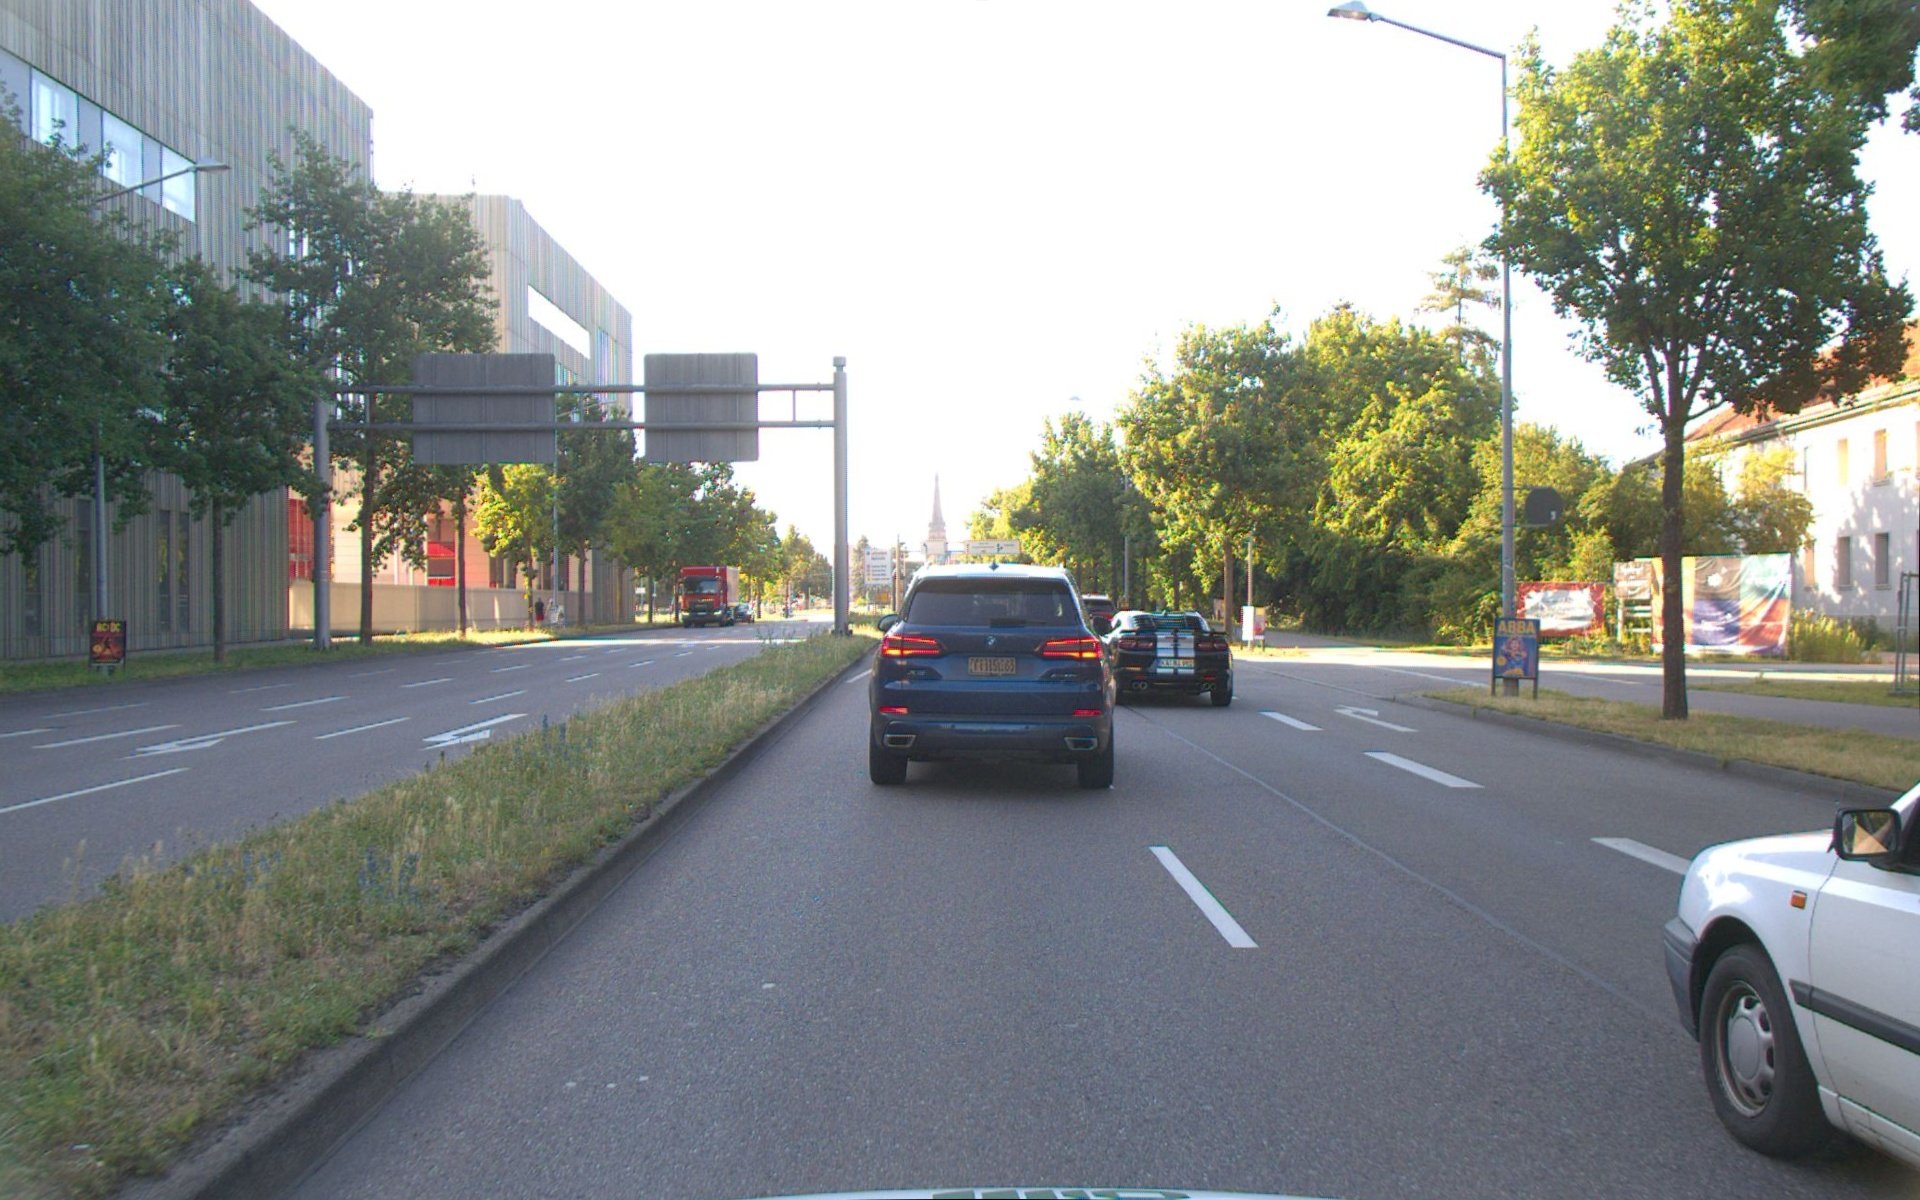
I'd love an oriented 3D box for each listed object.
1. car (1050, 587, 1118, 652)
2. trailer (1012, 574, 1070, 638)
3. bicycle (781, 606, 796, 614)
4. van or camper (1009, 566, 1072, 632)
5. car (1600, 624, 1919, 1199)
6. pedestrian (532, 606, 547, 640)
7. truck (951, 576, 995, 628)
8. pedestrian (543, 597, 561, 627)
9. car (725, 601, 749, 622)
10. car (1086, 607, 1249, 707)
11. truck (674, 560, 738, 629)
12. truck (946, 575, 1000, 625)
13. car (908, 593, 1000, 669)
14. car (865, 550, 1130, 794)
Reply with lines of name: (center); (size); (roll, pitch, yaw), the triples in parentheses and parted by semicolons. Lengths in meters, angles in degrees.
car: (3.310, 0.545, 44.682); (1.711, 1.649, 3.821); (-1, -1, 3)
trailer: (3.143, 0.239, 65.075); (2.047, 2.442, 3.500); (1, 0, -1)
bicycle: (-22.103, 1.261, 213.537); (1.868, 1.037, 0.505); (1, -1, 14)
van or camper: (3.399, -0.031, 71.108); (2.238, 2.675, 6.581); (1, 0, -1)
car: (3.007, 0.789, 3.543); (1.578, 1.423, 4.036); (2, -1, -2)
pedestrian: (-23.315, 1.262, 91.759); (0.619, 1.873, 0.716); (0, 0, 0)
truck: (0.665, 0.097, 89.269); (2.175, 2.697, 4.772); (0, 0, -2)
pedestrian: (-22.442, 0.652, 90.935); (0.760, 1.629, 0.909); (0, 0, 0)
car: (-16.265, 0.830, 120.676); (1.565, 1.539, 3.863); (0, 0, -5)
car: (3.044, 0.795, 25.158); (1.816, 1.361, 4.624); (1, 0, -1)
truck: (-15.008, -0.303, 98.357); (2.939, 3.878, 10.079); (0, 0, -4)
truck: (0.678, 0.025, 90.600); (2.529, 2.603, 6.247); (-1, 0, -4)
car: (-0.081, 0.622, 35.121); (1.711, 1.499, 3.821); (-1, 0, 3)
car: (0.281, 0.559, 14.450); (1.915, 1.757, 4.699); (1, -1, 0)
